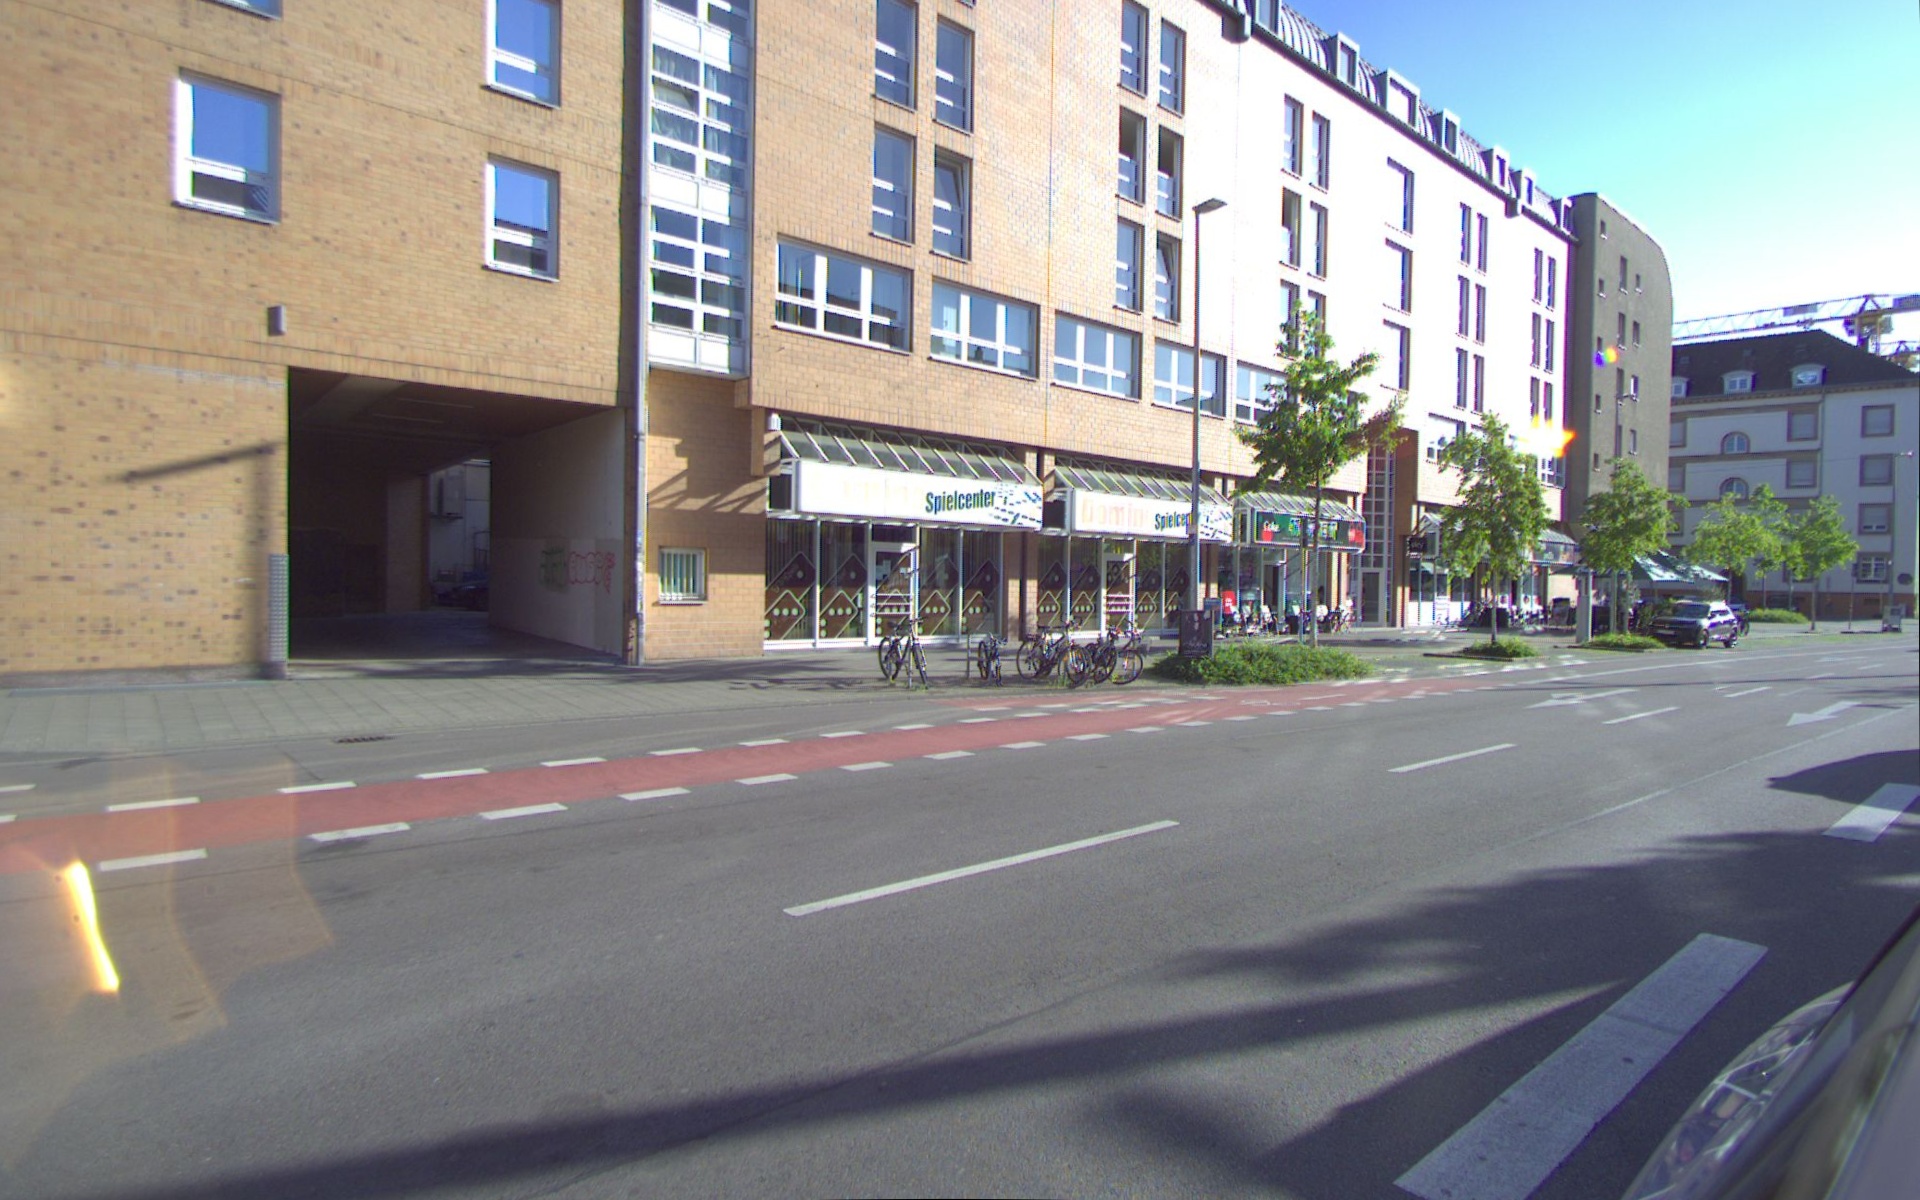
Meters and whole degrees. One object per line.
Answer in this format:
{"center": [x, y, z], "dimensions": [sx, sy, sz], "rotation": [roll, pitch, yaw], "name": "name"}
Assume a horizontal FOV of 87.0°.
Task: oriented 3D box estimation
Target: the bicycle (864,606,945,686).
{"center": [-0.910, 0.703, 16.123], "dimensions": [0.423, 1.089, 1.776], "rotation": [-1, 4, -35], "name": "bicycle"}

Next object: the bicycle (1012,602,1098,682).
{"center": [1.587, 0.677, 17.209], "dimensions": [0.553, 1.177, 1.843], "rotation": [0, 3, -26], "name": "bicycle"}

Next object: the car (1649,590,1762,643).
{"center": [25.907, 0.553, 35.153], "dimensions": [3.921, 1.659, 1.782], "rotation": [0, 3, -33], "name": "car"}

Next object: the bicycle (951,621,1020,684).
{"center": [0.403, 0.852, 16.953], "dimensions": [0.359, 0.842, 1.779], "rotation": [0, 3, -26], "name": "bicycle"}

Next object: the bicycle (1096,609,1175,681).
{"center": [3.072, 0.762, 17.878], "dimensions": [0.343, 1.069, 1.843], "rotation": [0, 3, -26], "name": "bicycle"}

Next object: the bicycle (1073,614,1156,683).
{"center": [2.658, 0.816, 17.666], "dimensions": [0.440, 0.997, 1.843], "rotation": [0, 3, -26], "name": "bicycle"}
